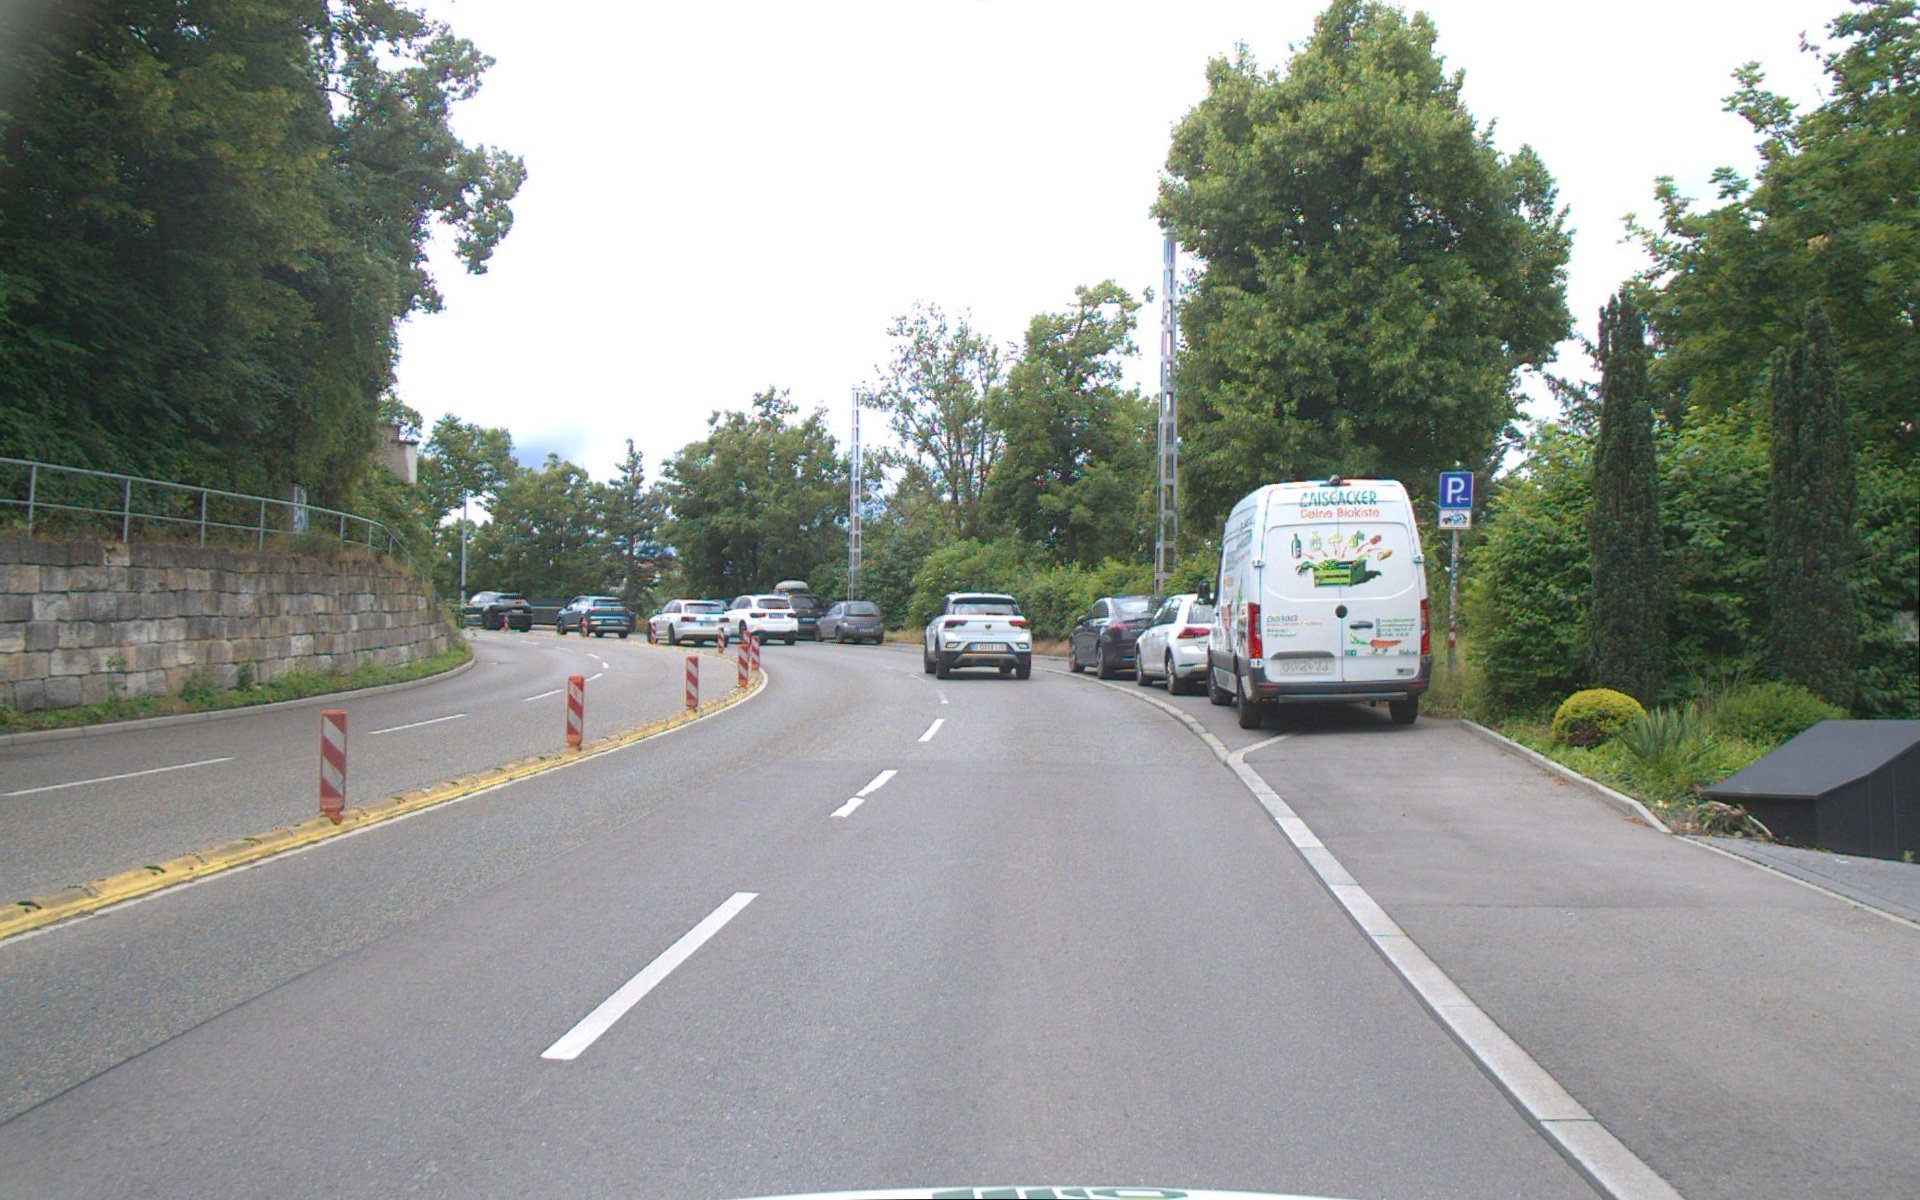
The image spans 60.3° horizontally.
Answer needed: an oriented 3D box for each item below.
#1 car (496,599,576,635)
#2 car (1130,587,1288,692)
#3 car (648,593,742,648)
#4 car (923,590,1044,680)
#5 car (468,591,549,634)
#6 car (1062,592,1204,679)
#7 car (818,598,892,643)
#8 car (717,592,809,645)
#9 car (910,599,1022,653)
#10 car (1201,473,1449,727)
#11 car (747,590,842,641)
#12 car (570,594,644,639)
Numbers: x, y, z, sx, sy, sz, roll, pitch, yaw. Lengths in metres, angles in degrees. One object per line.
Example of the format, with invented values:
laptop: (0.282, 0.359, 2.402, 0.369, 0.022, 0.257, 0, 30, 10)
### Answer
car: (-20.134, 0.809, 78.531, 3.460, 1.552, 1.695, 2, -2, 32)
car: (3.773, 0.584, 25.636, 1.667, 1.490, 3.832, 0, 0, -3)
car: (-8.589, 0.649, 53.277, 1.883, 1.601, 3.967, 4, -2, -26)
car: (0.383, 0.633, 31.495, 1.831, 1.563, 3.798, 1, 0, -6)
car: (-19.744, 0.538, 72.296, 1.805, 1.719, 3.940, 4, -2, -41)
car: (3.112, 0.617, 30.667, 1.668, 1.489, 4.657, 0, 0, -6)
car: (-3.693, 0.715, 57.494, 1.615, 1.490, 3.979, 2, -1, -18)
car: (-6.750, 0.626, 56.412, 1.967, 1.614, 3.970, 4, -2, -24)
car: (0.132, 0.711, 46.875, 1.753, 1.443, 3.971, 0, 0, -23)
car: (4.186, 0.014, 19.981, 2.040, 2.567, 5.847, -1, 0, 4)
car: (-6.309, 0.559, 62.672, 1.780, 1.803, 4.558, 3, -1, -31)
car: (-13.647, 0.644, 63.832, 1.967, 1.568, 3.980, 4, -2, -24)
